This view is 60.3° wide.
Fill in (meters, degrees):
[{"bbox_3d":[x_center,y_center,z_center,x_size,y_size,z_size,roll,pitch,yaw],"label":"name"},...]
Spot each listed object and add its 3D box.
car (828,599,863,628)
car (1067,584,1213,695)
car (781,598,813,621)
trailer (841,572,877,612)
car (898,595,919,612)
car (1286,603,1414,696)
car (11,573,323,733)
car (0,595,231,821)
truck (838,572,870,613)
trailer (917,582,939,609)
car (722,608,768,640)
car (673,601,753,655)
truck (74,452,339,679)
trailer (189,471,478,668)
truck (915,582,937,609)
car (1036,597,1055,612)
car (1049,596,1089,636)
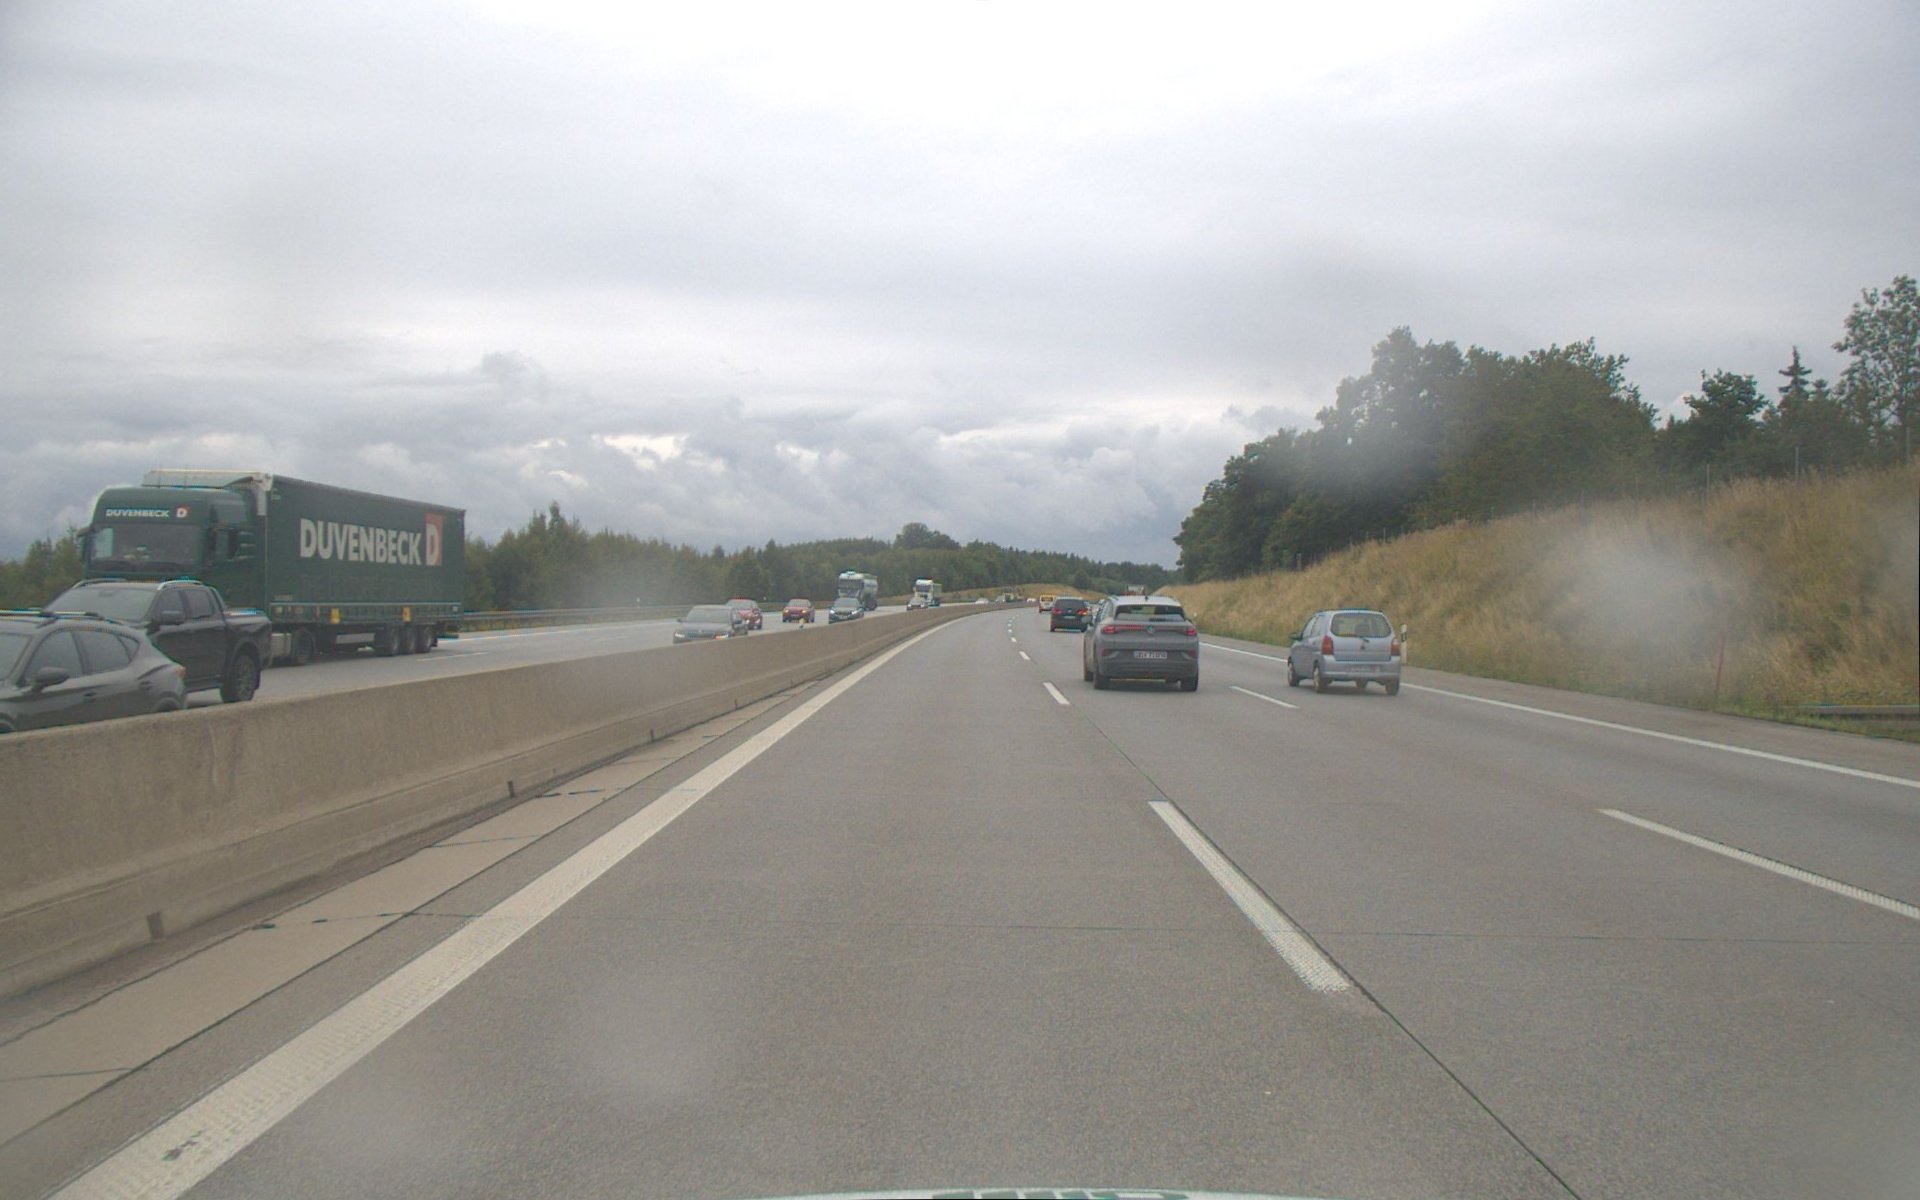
[{"bbox_3d":[-6.796,0.785,98.910,1.686,1.615,4.972,0,1,1],"label":"car"},{"bbox_3d":[3.168,0.629,30.143,1.860,1.719,5.264,-2,1,-2],"label":"car"},{"bbox_3d":[-10.410,0.577,105.850,1.487,1.417,4.487,1,0,1],"label":"car"},{"bbox_3d":[-10.839,-0.940,178.441,2.701,4.068,12.293,1,1,1],"label":"trailer"},{"bbox_3d":[-4.799,0.331,155.685,1.755,1.441,4.344,1,1,1],"label":"car"},{"bbox_3d":[7.002,0.850,29.976,1.455,1.496,3.504,1,1,-1],"label":"car"},{"bbox_3d":[-11.504,0.657,24.519,1.953,2.008,5.331,-2,1,0],"label":"car"},{"bbox_3d":[-7.931,0.809,13.582,1.953,1.545,4.397,-2,1,-1],"label":"car"},{"bbox_3d":[-10.996,-0.787,171.754,2.690,4.068,6.931,1,1,1],"label":"truck"},{"bbox_3d":[-4.765,-0.687,250.135,2.692,3.866,9.319,1,0,3],"label":"trailer"},{"bbox_3d":[-10.821,1.209,83.369,1.682,1.534,4.486,0,-1,1],"label":"car"},{"bbox_3d":[-7.360,0.814,49.631,1.736,1.381,4.366,-2,1,-1],"label":"car"},{"bbox_3d":[-15.824,-0.734,35.240,2.732,4.337,6.050,2,1,1],"label":"truck"},{"bbox_3d":[-15.801,-0.820,43.101,2.708,4.356,12.170,1,1,1],"label":"trailer"},{"bbox_3d":[-4.996,-0.663,245.541,2.693,3.869,5.533,1,0,3],"label":"truck"},{"bbox_3d":[9.686,0.453,186.305,1.802,1.526,4.004,-2,1,7],"label":"car"},{"bbox_3d":[5.307,0.781,81.112,1.748,1.777,3.916,-2,1,1],"label":"car"}]
